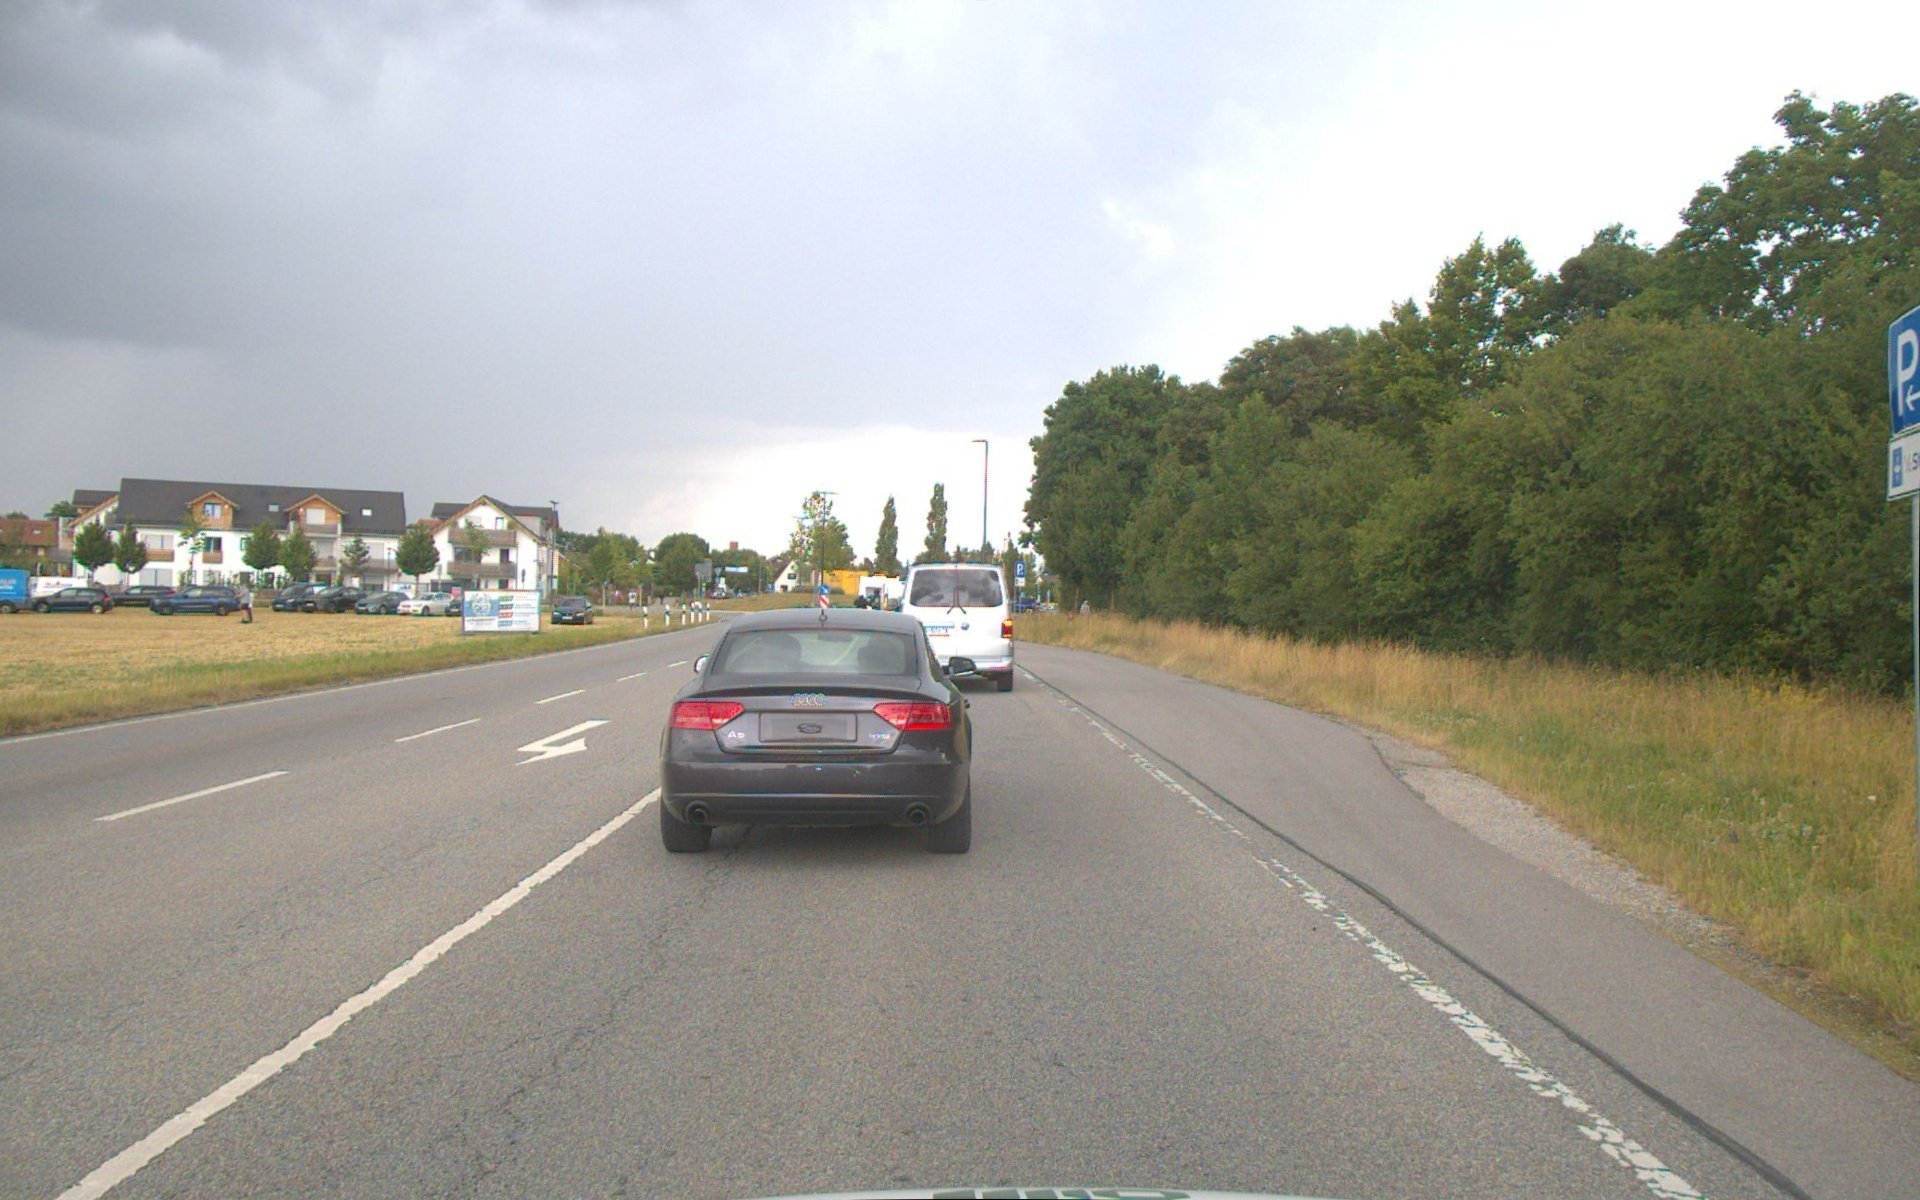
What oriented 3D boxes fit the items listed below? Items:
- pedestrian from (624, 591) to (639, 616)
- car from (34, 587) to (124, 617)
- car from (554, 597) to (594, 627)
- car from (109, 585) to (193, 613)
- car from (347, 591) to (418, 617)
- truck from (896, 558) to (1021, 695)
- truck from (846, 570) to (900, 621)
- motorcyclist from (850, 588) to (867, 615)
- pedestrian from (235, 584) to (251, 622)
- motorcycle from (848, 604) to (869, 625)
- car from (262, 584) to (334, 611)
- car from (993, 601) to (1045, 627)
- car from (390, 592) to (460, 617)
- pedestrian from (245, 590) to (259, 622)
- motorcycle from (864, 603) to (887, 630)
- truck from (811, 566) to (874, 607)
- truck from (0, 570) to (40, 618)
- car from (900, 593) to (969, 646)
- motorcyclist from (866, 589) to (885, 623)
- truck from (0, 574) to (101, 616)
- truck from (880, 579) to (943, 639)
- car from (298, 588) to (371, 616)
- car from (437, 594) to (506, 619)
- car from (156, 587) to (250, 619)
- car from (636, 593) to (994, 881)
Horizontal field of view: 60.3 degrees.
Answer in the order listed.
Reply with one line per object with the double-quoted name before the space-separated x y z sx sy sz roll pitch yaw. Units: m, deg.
"pedestrian" -20.954 0.209 105.555 0.686 1.613 0.658 1 0 16
"car" -48.107 0.115 90.366 4.096 1.545 1.987 1 0 -22
"car" -20.380 0.618 87.451 1.958 1.467 3.989 1 1 -12
"car" -50.885 -0.059 104.172 4.560 1.727 1.987 1 0 -22
"car" -34.954 0.246 100.262 1.951 1.562 4.214 1 0 17
"truck" -0.055 0.392 27.293 1.865 2.033 4.627 1 0 -1
"truck" -5.072 -0.247 95.258 2.577 2.785 5.857 2 0 -8
"motorcyclist" -5.159 0.083 84.239 0.770 1.380 0.852 1 0 -7
"pedestrian" -34.842 0.154 80.354 0.539 1.817 0.676 1 0 -13
"motorcycle" -5.177 0.715 84.272 0.926 1.037 2.281 1 0 -6
"car" -41.159 -0.146 102.901 1.951 1.657 4.214 1 0 17
"car" 4.920 1.200 138.819 3.904 2.049 2.001 2 0 19
"car" -32.261 0.267 99.834 1.951 1.471 4.214 1 0 17
"pedestrian" -34.860 0.298 81.463 0.581 1.583 0.622 1 0 -20
"motorcycle" -3.591 0.712 70.602 0.901 1.113 2.188 1 0 -1
"truck" -11.208 -1.287 156.906 3.522 3.641 9.902 2 0 -19
"truck" -50.816 -0.343 85.579 5.376 2.489 2.376 1 0 -24
"car" -0.792 0.562 49.361 1.953 1.511 3.998 1 0 -2
"motorcyclist" -3.604 0.255 70.640 0.756 1.407 0.820 1 0 -2
"truck" -51.606 -0.288 93.122 5.492 2.235 2.588 1 0 -24
"truck" -1.722 0.314 59.619 2.149 2.049 5.084 1 0 -1
"car" -38.041 0.116 100.706 1.951 1.657 4.214 1 0 17
"car" -29.392 0.399 99.575 1.951 1.471 4.214 1 0 17
"car" -42.428 0.162 92.817 4.649 1.727 1.987 1 0 -22
"car" -0.800 0.709 10.634 1.837 1.479 4.175 0 0 -2
